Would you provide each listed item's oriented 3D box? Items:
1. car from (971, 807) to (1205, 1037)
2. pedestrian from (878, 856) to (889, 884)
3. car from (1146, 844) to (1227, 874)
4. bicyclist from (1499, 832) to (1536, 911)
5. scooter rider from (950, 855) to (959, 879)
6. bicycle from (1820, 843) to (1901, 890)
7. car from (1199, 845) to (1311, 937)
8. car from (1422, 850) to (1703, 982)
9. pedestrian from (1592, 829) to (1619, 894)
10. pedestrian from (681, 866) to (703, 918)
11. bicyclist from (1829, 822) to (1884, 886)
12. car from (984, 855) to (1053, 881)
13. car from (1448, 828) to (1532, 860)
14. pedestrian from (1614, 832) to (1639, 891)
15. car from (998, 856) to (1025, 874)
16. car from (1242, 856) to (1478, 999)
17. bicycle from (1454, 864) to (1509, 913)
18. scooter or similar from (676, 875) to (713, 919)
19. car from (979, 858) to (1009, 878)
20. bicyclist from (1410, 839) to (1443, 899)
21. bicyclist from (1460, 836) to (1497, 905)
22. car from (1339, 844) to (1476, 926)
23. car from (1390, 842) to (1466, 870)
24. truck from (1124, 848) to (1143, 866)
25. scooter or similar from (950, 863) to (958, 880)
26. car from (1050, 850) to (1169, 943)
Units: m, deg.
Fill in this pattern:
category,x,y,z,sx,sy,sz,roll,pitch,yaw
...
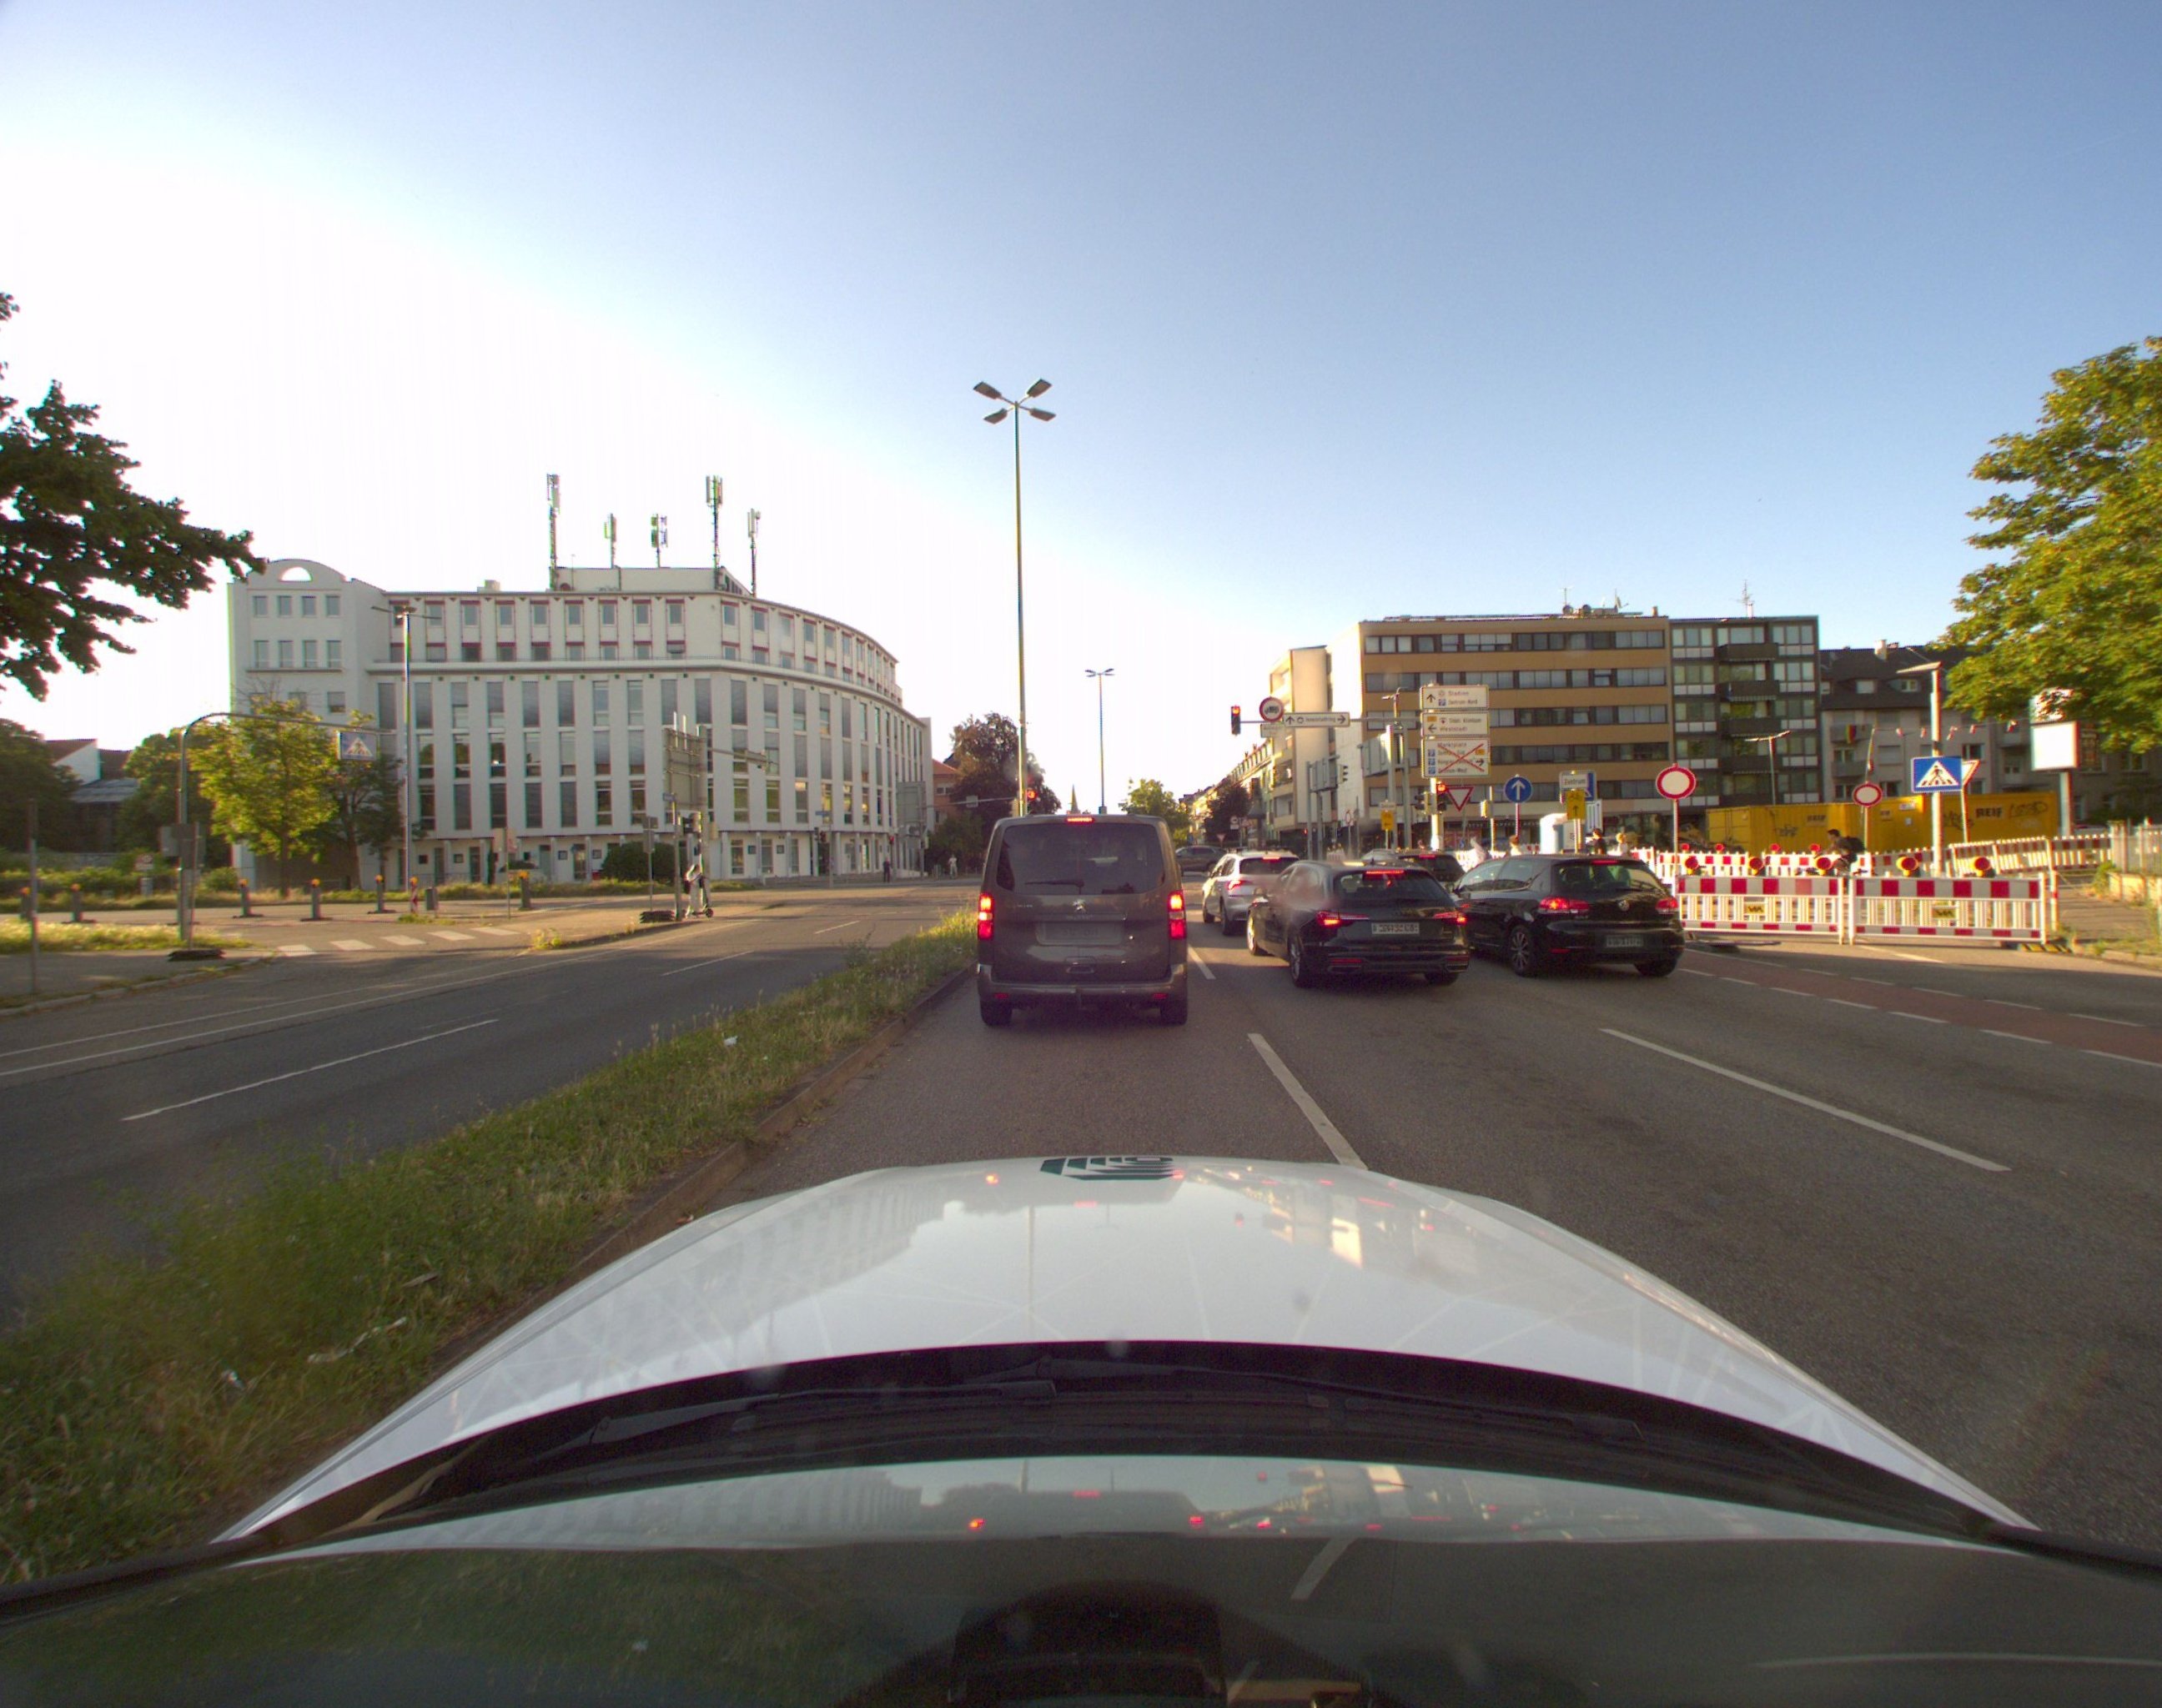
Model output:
category,x,y,z,sx,sy,sz,roll,pitch,yaw
car,0.129,0.554,8.897,1.899,1.863,4.528,0,0,2
pedestrian,-12.739,1.024,52.572,0.626,1.722,0.668,-2,0,-12
car,5.929,0.293,46.094,4.328,1.549,1.786,-2,0,-2
bicyclist,8.691,0.347,16.215,0.439,1.525,0.482,-2,0,1
scooter rider,-9.330,0.952,60.033,0.479,1.697,0.636,-2,0,1
bicycle,19.554,0.317,20.453,1.484,1.161,0.375,0,1,12
car,3.328,0.643,16.146,1.523,1.613,3.747,0,0,2
car,6.089,0.678,10.856,1.627,1.449,3.747,0,0,2
pedestrian,14.997,0.213,23.280,0.575,1.834,0.481,-1,0,-44
pedestrian,-11.578,1.122,24.252,0.474,1.505,0.334,-2,0,-10
bicyclist,19.518,-0.004,20.502,0.806,1.589,0.622,0,1,14
car,-3.725,0.824,48.699,3.979,1.420,1.785,-2,0,-4
car,25.026,-0.613,49.909,4.211,1.817,1.995,-2,0,-7
pedestrian,15.716,0.212,23.464,0.449,1.671,0.607,-2,0,43
car,-5.905,0.945,69.730,1.850,1.420,4.000,-2,0,0
car,3.239,0.752,10.340,1.675,1.421,4.215,0,0,2
bicycle,8.962,0.750,18.284,0.335,1.008,1.856,-2,0,2
scooter or similar,-11.402,1.254,24.025,0.893,1.234,0.370,-2,0,-10
car,-6.761,1.054,63.809,1.850,1.420,4.000,-2,0,0
bicyclist,9.029,0.391,21.304,0.511,1.525,0.725,-2,0,2
bicyclist,8.961,0.365,18.368,0.439,1.525,0.725,-2,0,2
car,6.469,0.570,16.483,1.499,1.449,3.306,-2,0,2
car,20.282,0.113,47.685,3.670,1.387,1.693,-3,0,-6
truck,6.415,0.342,98.668,2.118,2.086,4.638,-2,0,5
scooter or similar,-9.360,1.307,60.016,0.284,1.188,1.170,-2,0,2
car,0.551,0.718,15.925,1.986,1.530,4.002,-2,0,2
